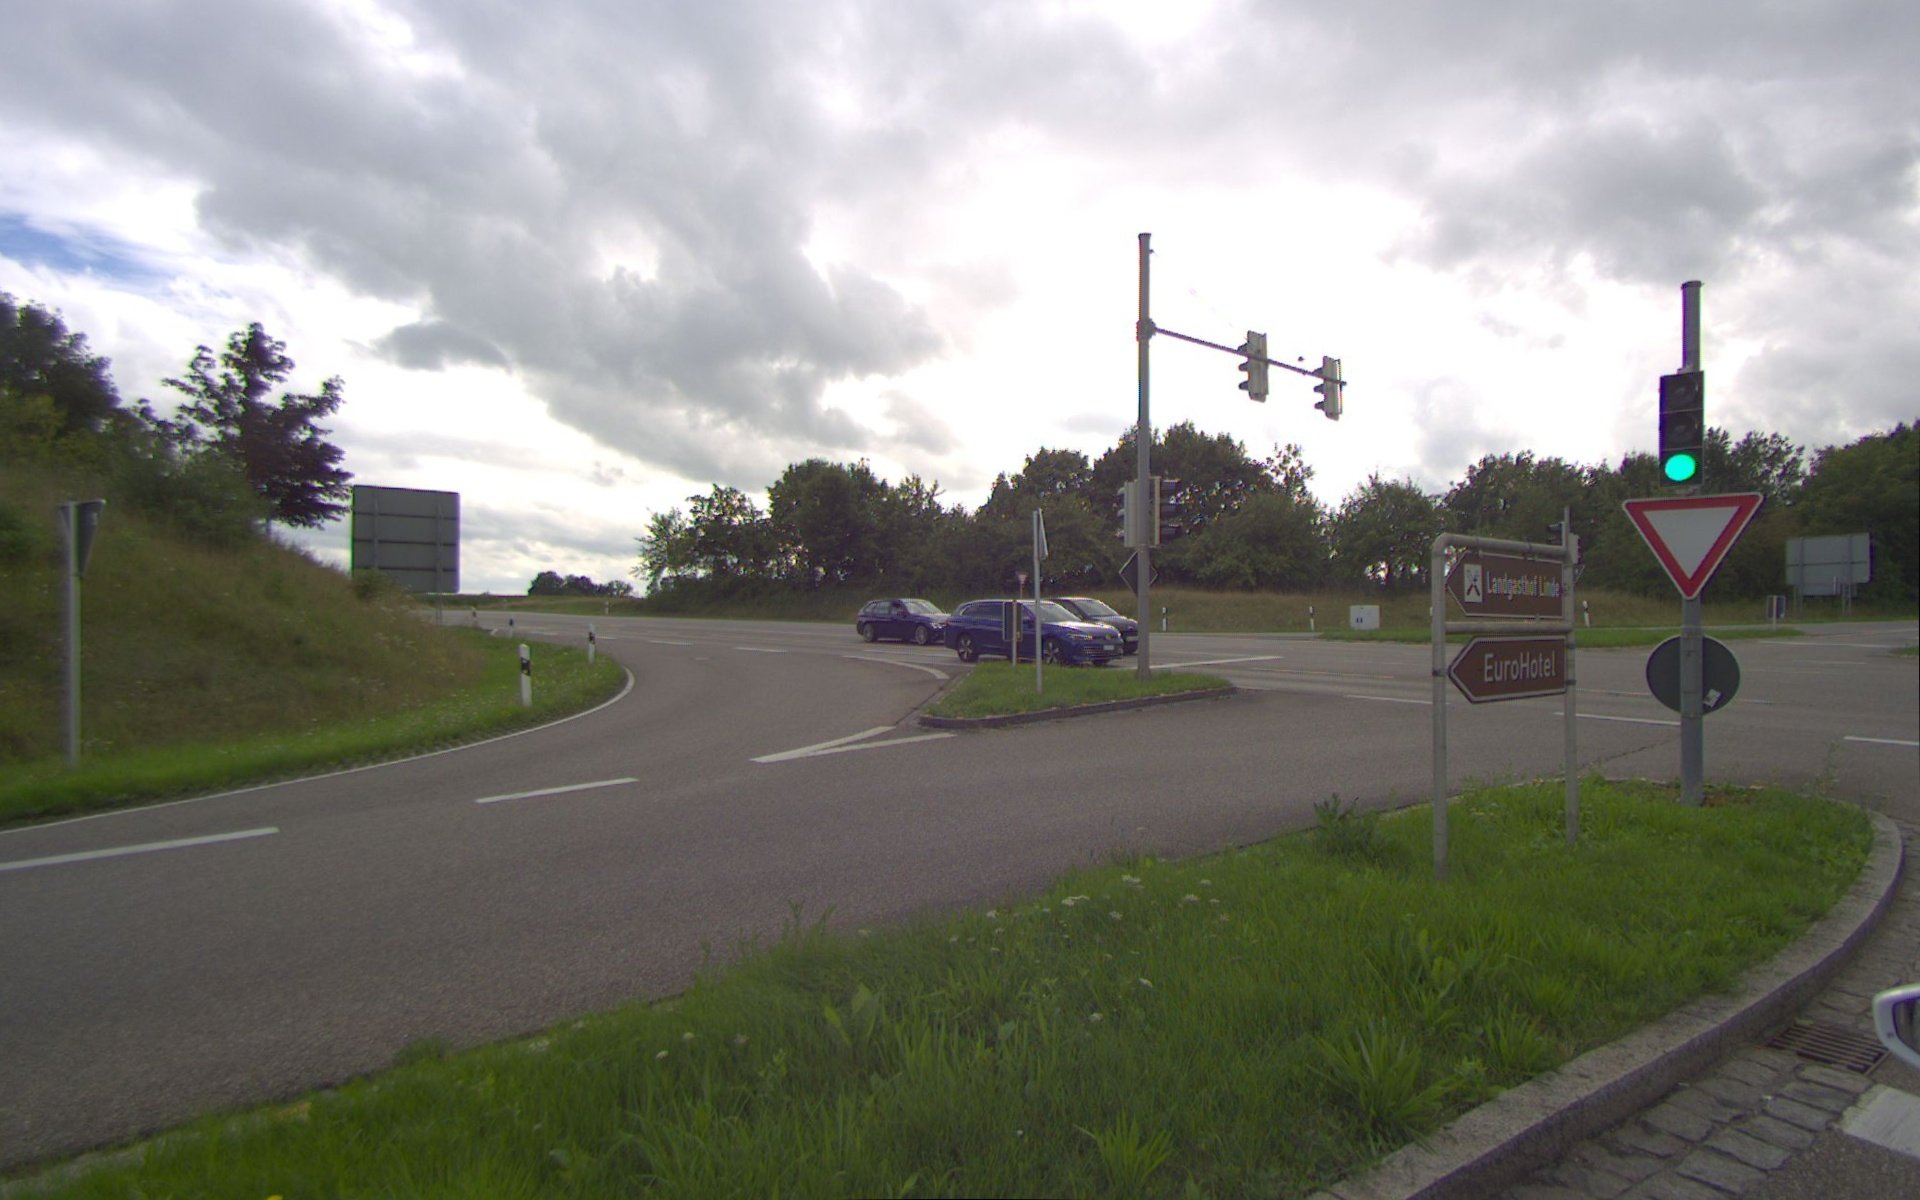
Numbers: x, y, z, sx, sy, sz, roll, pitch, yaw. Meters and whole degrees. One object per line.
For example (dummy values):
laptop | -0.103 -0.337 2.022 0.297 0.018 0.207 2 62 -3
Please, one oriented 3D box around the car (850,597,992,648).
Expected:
car | -1.344 0.678 32.734 2.040 1.504 4.820 -2 1 -42

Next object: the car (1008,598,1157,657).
car | 3.268 0.695 27.353 1.718 1.463 3.897 -1 1 -41

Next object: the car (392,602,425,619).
car | -55.535 1.069 101.110 1.837 1.712 3.946 1 -1 -45

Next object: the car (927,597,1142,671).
car | 1.635 0.717 23.780 2.038 1.555 5.060 0 0 -43
